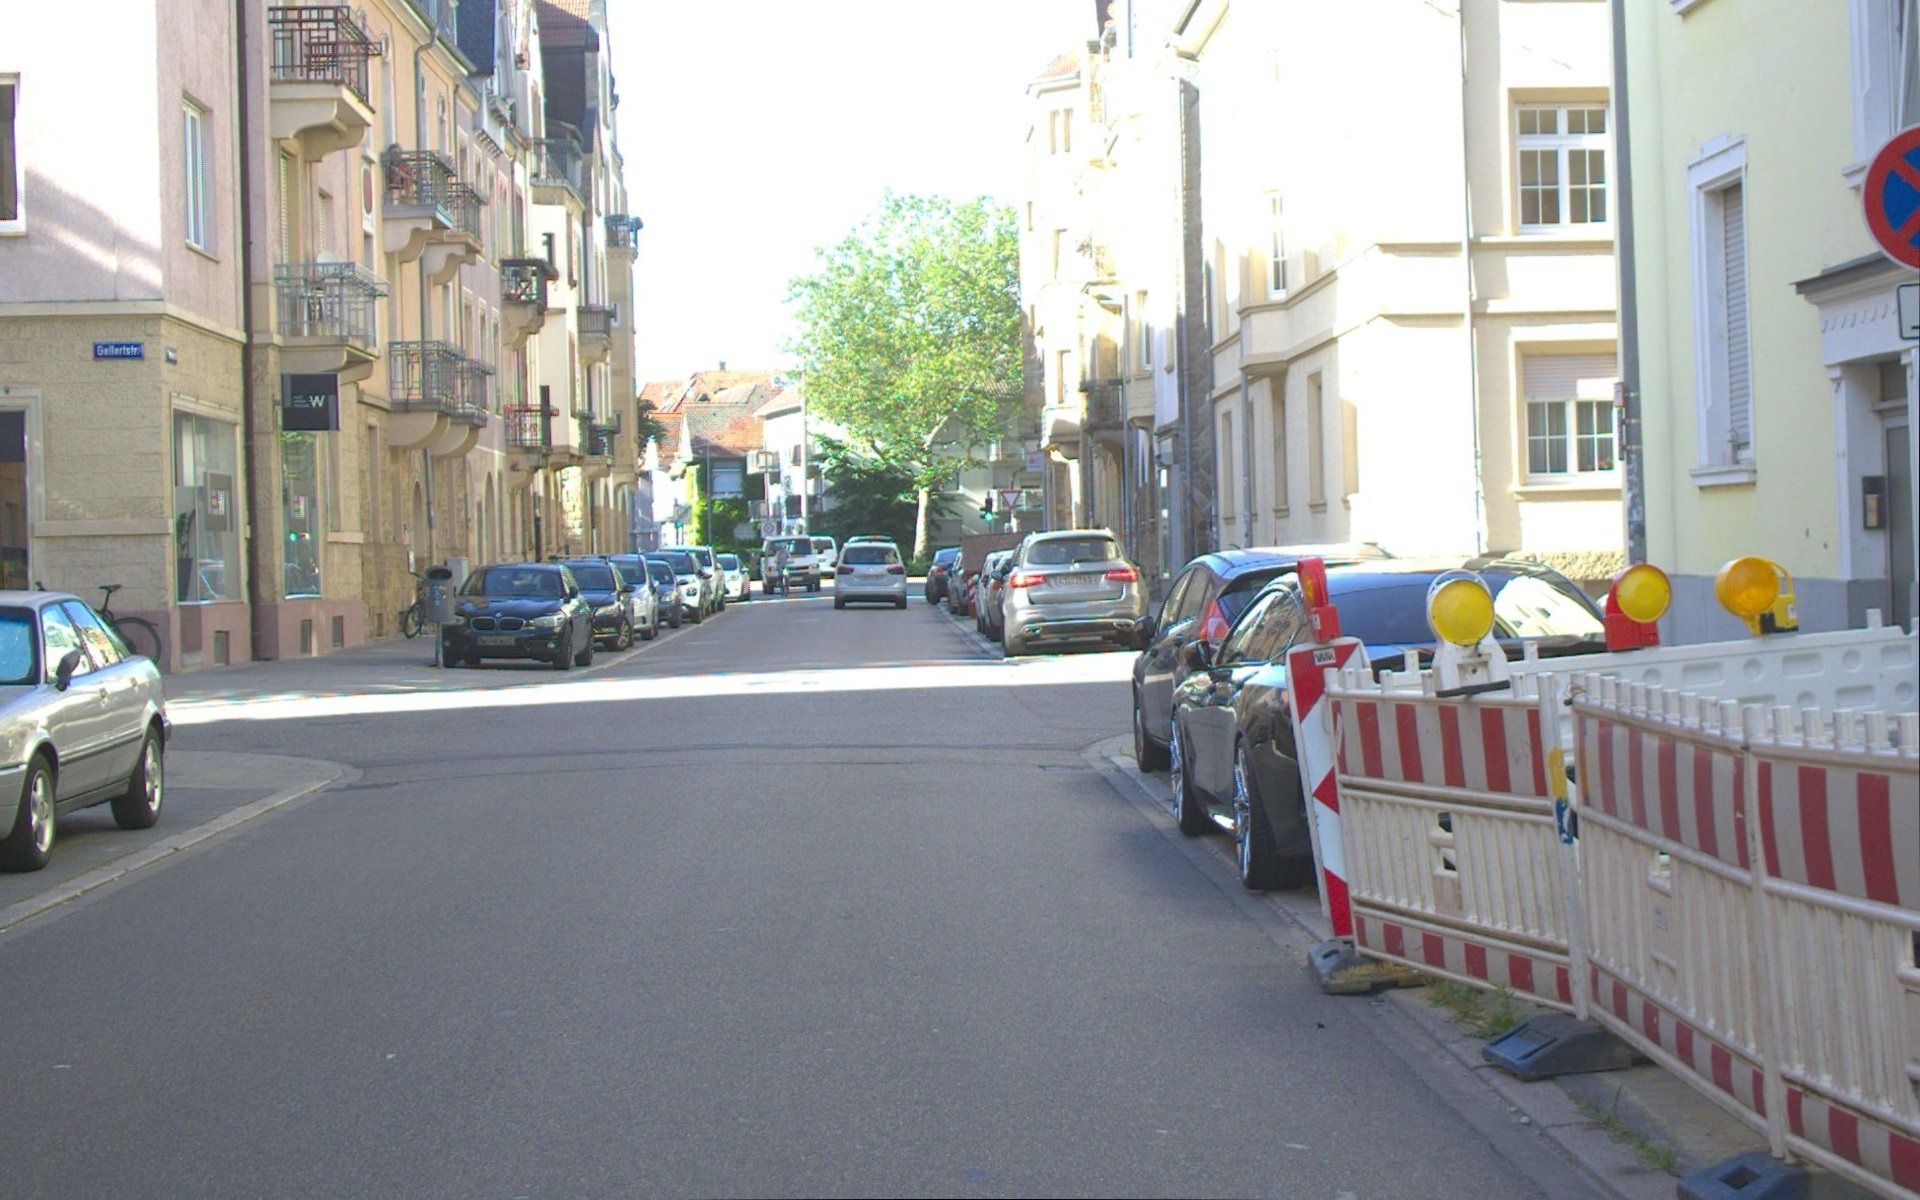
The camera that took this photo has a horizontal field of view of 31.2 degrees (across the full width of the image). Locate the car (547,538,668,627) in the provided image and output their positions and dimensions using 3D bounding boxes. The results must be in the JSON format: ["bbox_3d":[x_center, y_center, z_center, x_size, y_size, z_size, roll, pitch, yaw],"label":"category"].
[{"bbox_3d":[-6.635,-0.330,65.090,2.003,1.613,4.488,0,0,-2],"label":"car"}]

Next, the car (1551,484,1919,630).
[{"bbox_3d":[9.324,-0.499,39.617,4.536,1.463,1.829,-3,-1,-8],"label":"car"}]

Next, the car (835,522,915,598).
[{"bbox_3d":[-2.195,-1.022,88.746,2.003,1.907,4.488,0,0,-2],"label":"car"}]

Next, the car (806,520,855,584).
[{"bbox_3d":[-5.526,-2.055,147.380,1.838,2.525,4.176,-4,-1,-1],"label":"car"}]

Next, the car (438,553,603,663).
[{"bbox_3d":[-5.912,0.088,46.675,1.679,1.421,4.274,0,0,0],"label":"car"}]

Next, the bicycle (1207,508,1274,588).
[{"bbox_3d":[4.559,-0.859,56.047,0.761,1.242,2.592,-2,1,-2],"label":"bicycle"}]

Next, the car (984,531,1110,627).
[{"bbox_3d":[1.417,-0.327,57.300,1.838,1.426,4.029,-4,0,-1],"label":"car"}]

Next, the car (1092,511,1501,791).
[{"bbox_3d":[2.023,0.256,21.858,1.762,1.465,4.085,-5,1,-5],"label":"car"}]

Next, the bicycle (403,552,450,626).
[{"bbox_3d":[-9.688,-0.214,62.473,0.541,1.297,1.867,-1,1,-1],"label":"bicycle"}]

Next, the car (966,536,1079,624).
[{"bbox_3d":[1.111,-0.340,62.686,1.838,1.426,4.029,-4,0,-1],"label":"car"}]

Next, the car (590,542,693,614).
[{"bbox_3d":[-6.804,-0.476,73.684,1.978,1.477,4.328,0,0,-2],"label":"car"}]

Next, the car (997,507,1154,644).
[{"bbox_3d":[1.509,-0.310,46.611,1.913,1.639,4.773,-4,0,1],"label":"car"}]

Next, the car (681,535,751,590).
[{"bbox_3d":[-7.376,-1.122,104.243,2.003,1.600,4.488,0,0,-2],"label":"car"}]

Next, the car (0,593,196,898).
[{"bbox_3d":[-5.493,0.717,18.590,1.762,1.373,4.479,-2,1,-1],"label":"car"}]

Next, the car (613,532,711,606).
[{"bbox_3d":[-6.750,-0.704,78.247,2.003,1.613,4.488,0,0,-2],"label":"car"}]

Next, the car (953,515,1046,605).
[{"bbox_3d":[0.840,-0.847,75.477,1.838,1.781,4.029,-3,-1,-1],"label":"car"}]

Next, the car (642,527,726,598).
[{"bbox_3d":[-7.133,-0.965,89.280,2.003,1.782,4.488,0,0,-2],"label":"car"}]

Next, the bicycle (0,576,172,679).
[{"bbox_3d":[-10.382,0.322,40.869,1.898,1.131,0.648,-2,3,-8],"label":"bicycle"}]

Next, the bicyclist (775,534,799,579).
[{"bbox_3d":[-5.517,-1.393,109.668,0.662,1.381,0.754,-4,0,-2],"label":"bicyclist"}]

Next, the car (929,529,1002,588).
[{"bbox_3d":[0.133,-1.118,94.297,1.838,1.426,4.029,-4,-1,-1],"label":"car"}]

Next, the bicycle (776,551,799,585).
[{"bbox_3d":[-5.506,-1.017,109.730,0.662,1.015,2.066,-4,0,-2],"label":"bicycle"}]

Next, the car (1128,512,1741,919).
[{"bbox_3d":[2.016,0.404,16.212,1.801,1.465,5.112,-5,1,-3],"label":"car"}]

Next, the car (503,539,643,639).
[{"bbox_3d":[-6.388,-0.191,57.229,2.003,1.577,4.488,0,0,-2],"label":"car"}]

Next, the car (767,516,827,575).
[{"bbox_3d":[-5.595,-1.848,117.933,2.003,1.993,4.488,0,0,-2],"label":"car"}]
